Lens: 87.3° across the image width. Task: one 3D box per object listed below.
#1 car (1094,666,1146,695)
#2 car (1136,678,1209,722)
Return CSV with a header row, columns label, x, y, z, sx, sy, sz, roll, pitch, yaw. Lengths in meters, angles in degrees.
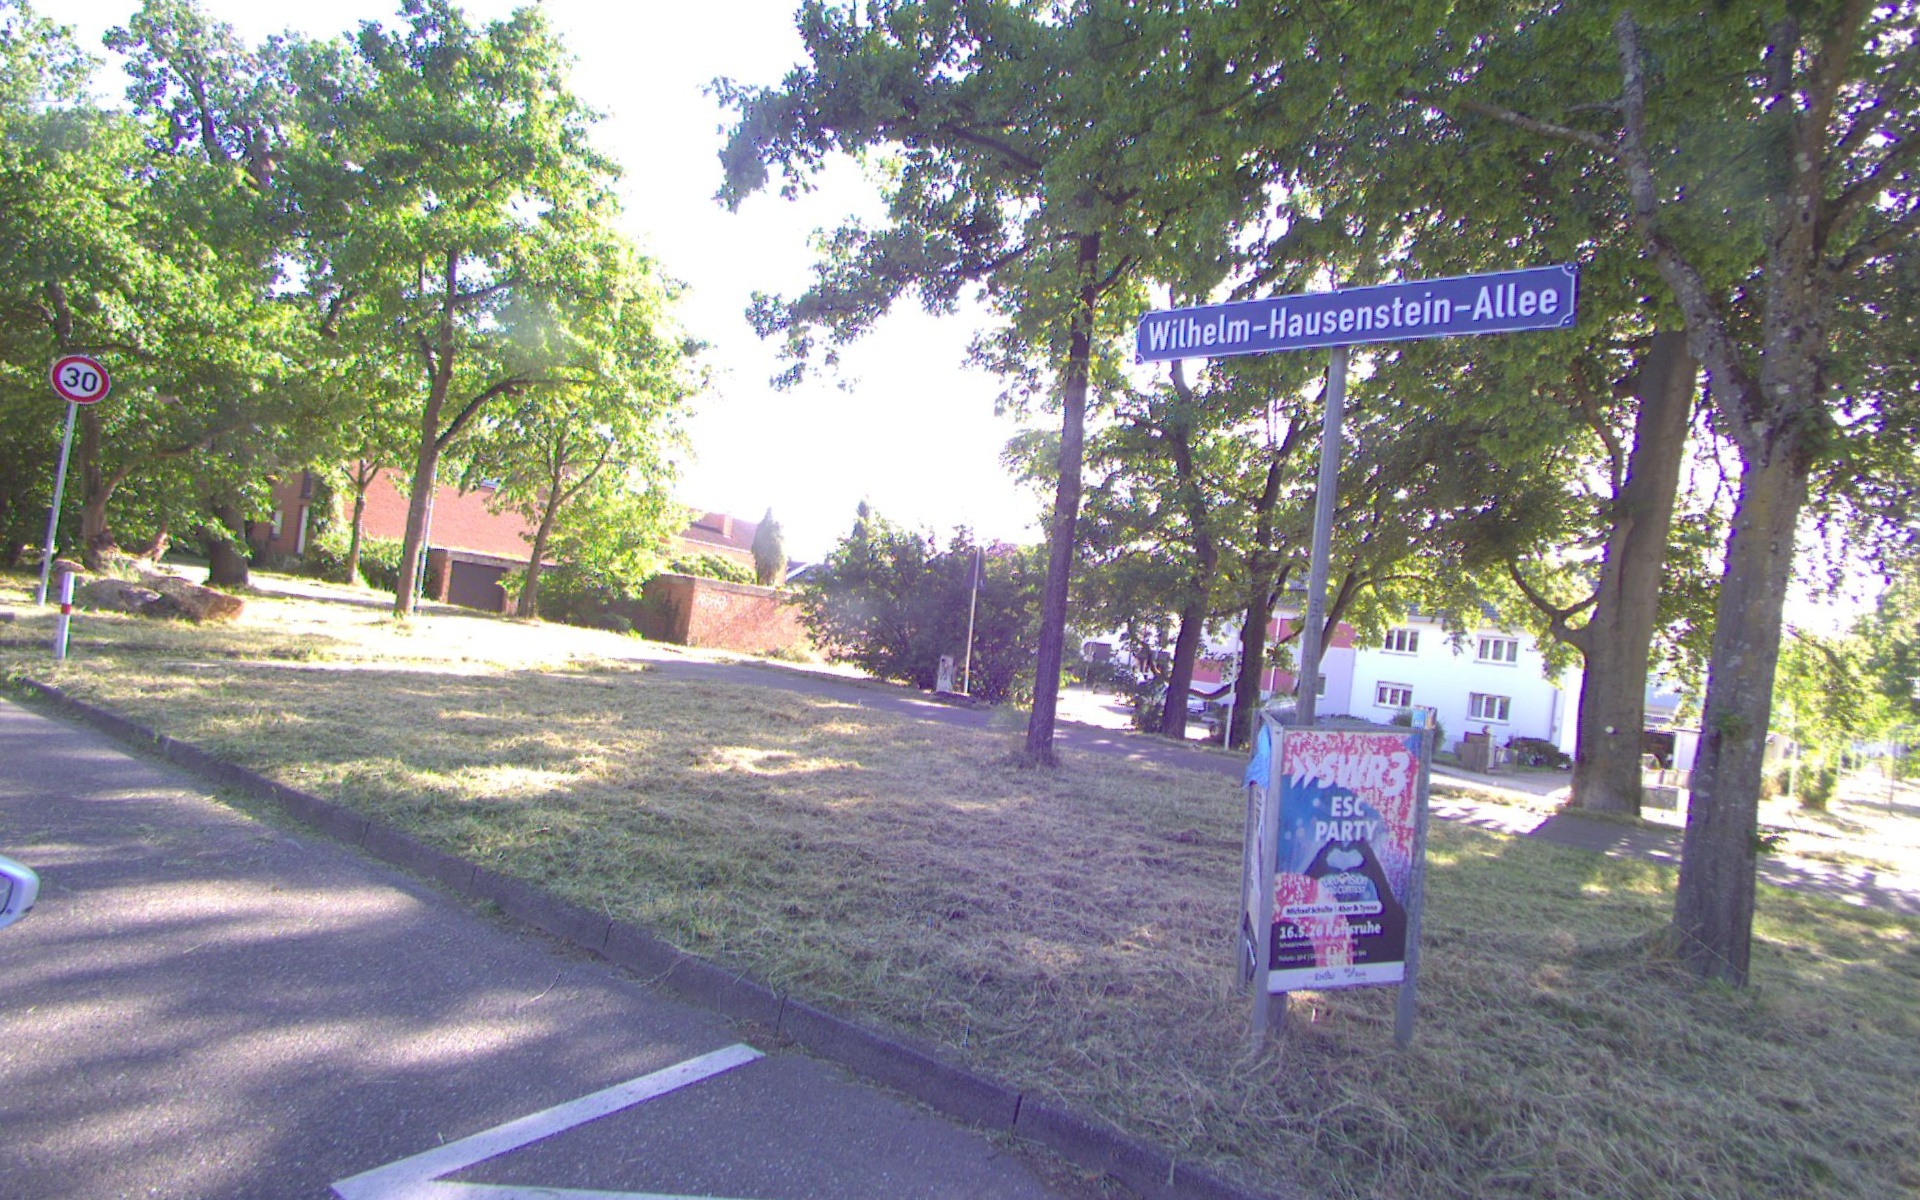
label,x,y,z,sx,sy,sz,roll,pitch,yaw
car,10.915,5.473,68.492,3.617,1.515,1.434,10,-3,-41
car,10.094,4.748,47.957,1.514,1.569,3.160,9,-2,-30
